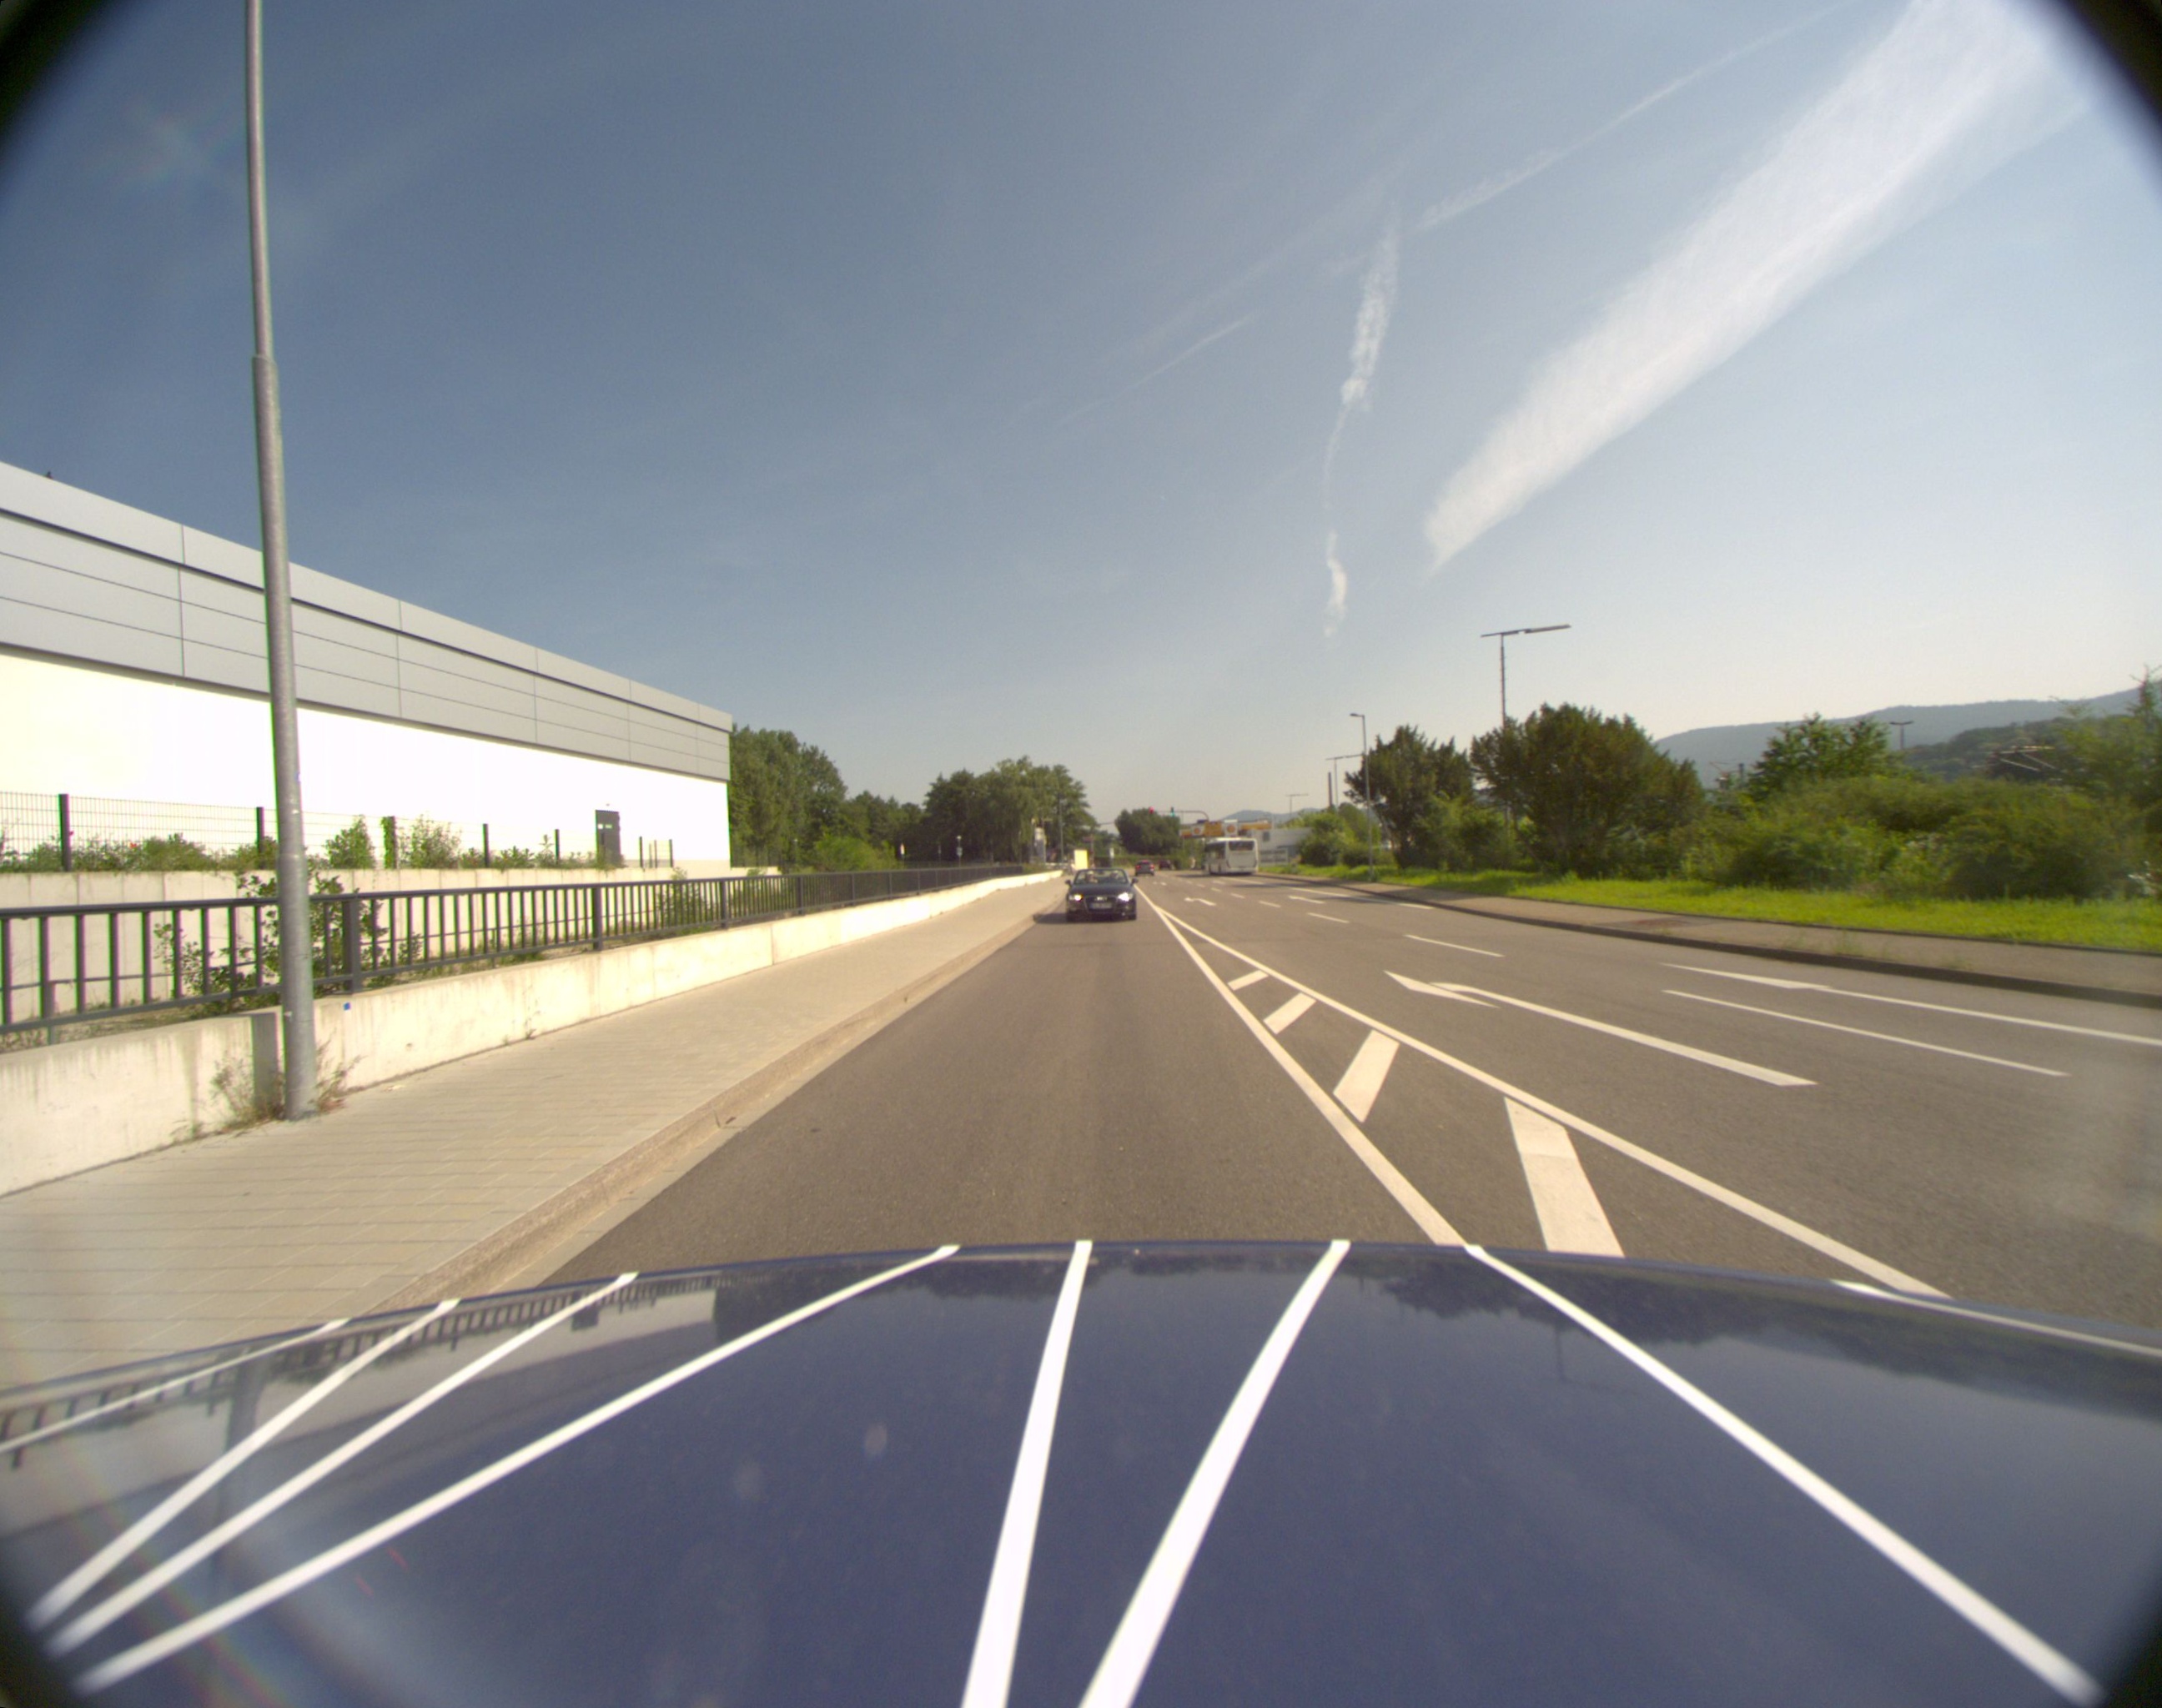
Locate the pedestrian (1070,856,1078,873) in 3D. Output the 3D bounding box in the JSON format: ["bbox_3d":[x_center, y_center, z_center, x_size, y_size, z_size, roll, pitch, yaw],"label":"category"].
[{"bbox_3d":[-0.746,1.074,77.692,0.712,1.661,0.593,-2,1,-4],"label":"pedestrian"}]

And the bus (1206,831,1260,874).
[{"bbox_3d":[12.912,-0.143,65.705,2.627,3.290,11.958,-2,0,2],"label":"bus"}]

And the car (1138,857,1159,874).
[{"bbox_3d":[6.340,1.027,71.341,1.776,1.464,4.220,-2,0,3],"label":"car"}]

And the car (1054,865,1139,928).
[{"bbox_3d":[0.453,1.000,19.288,1.868,1.322,4.233,-2,0,3],"label":"car"}]

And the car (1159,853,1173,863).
[{"bbox_3d":[13.587,0.580,120.937,1.842,1.483,4.432,-2,1,2],"label":"car"}]
